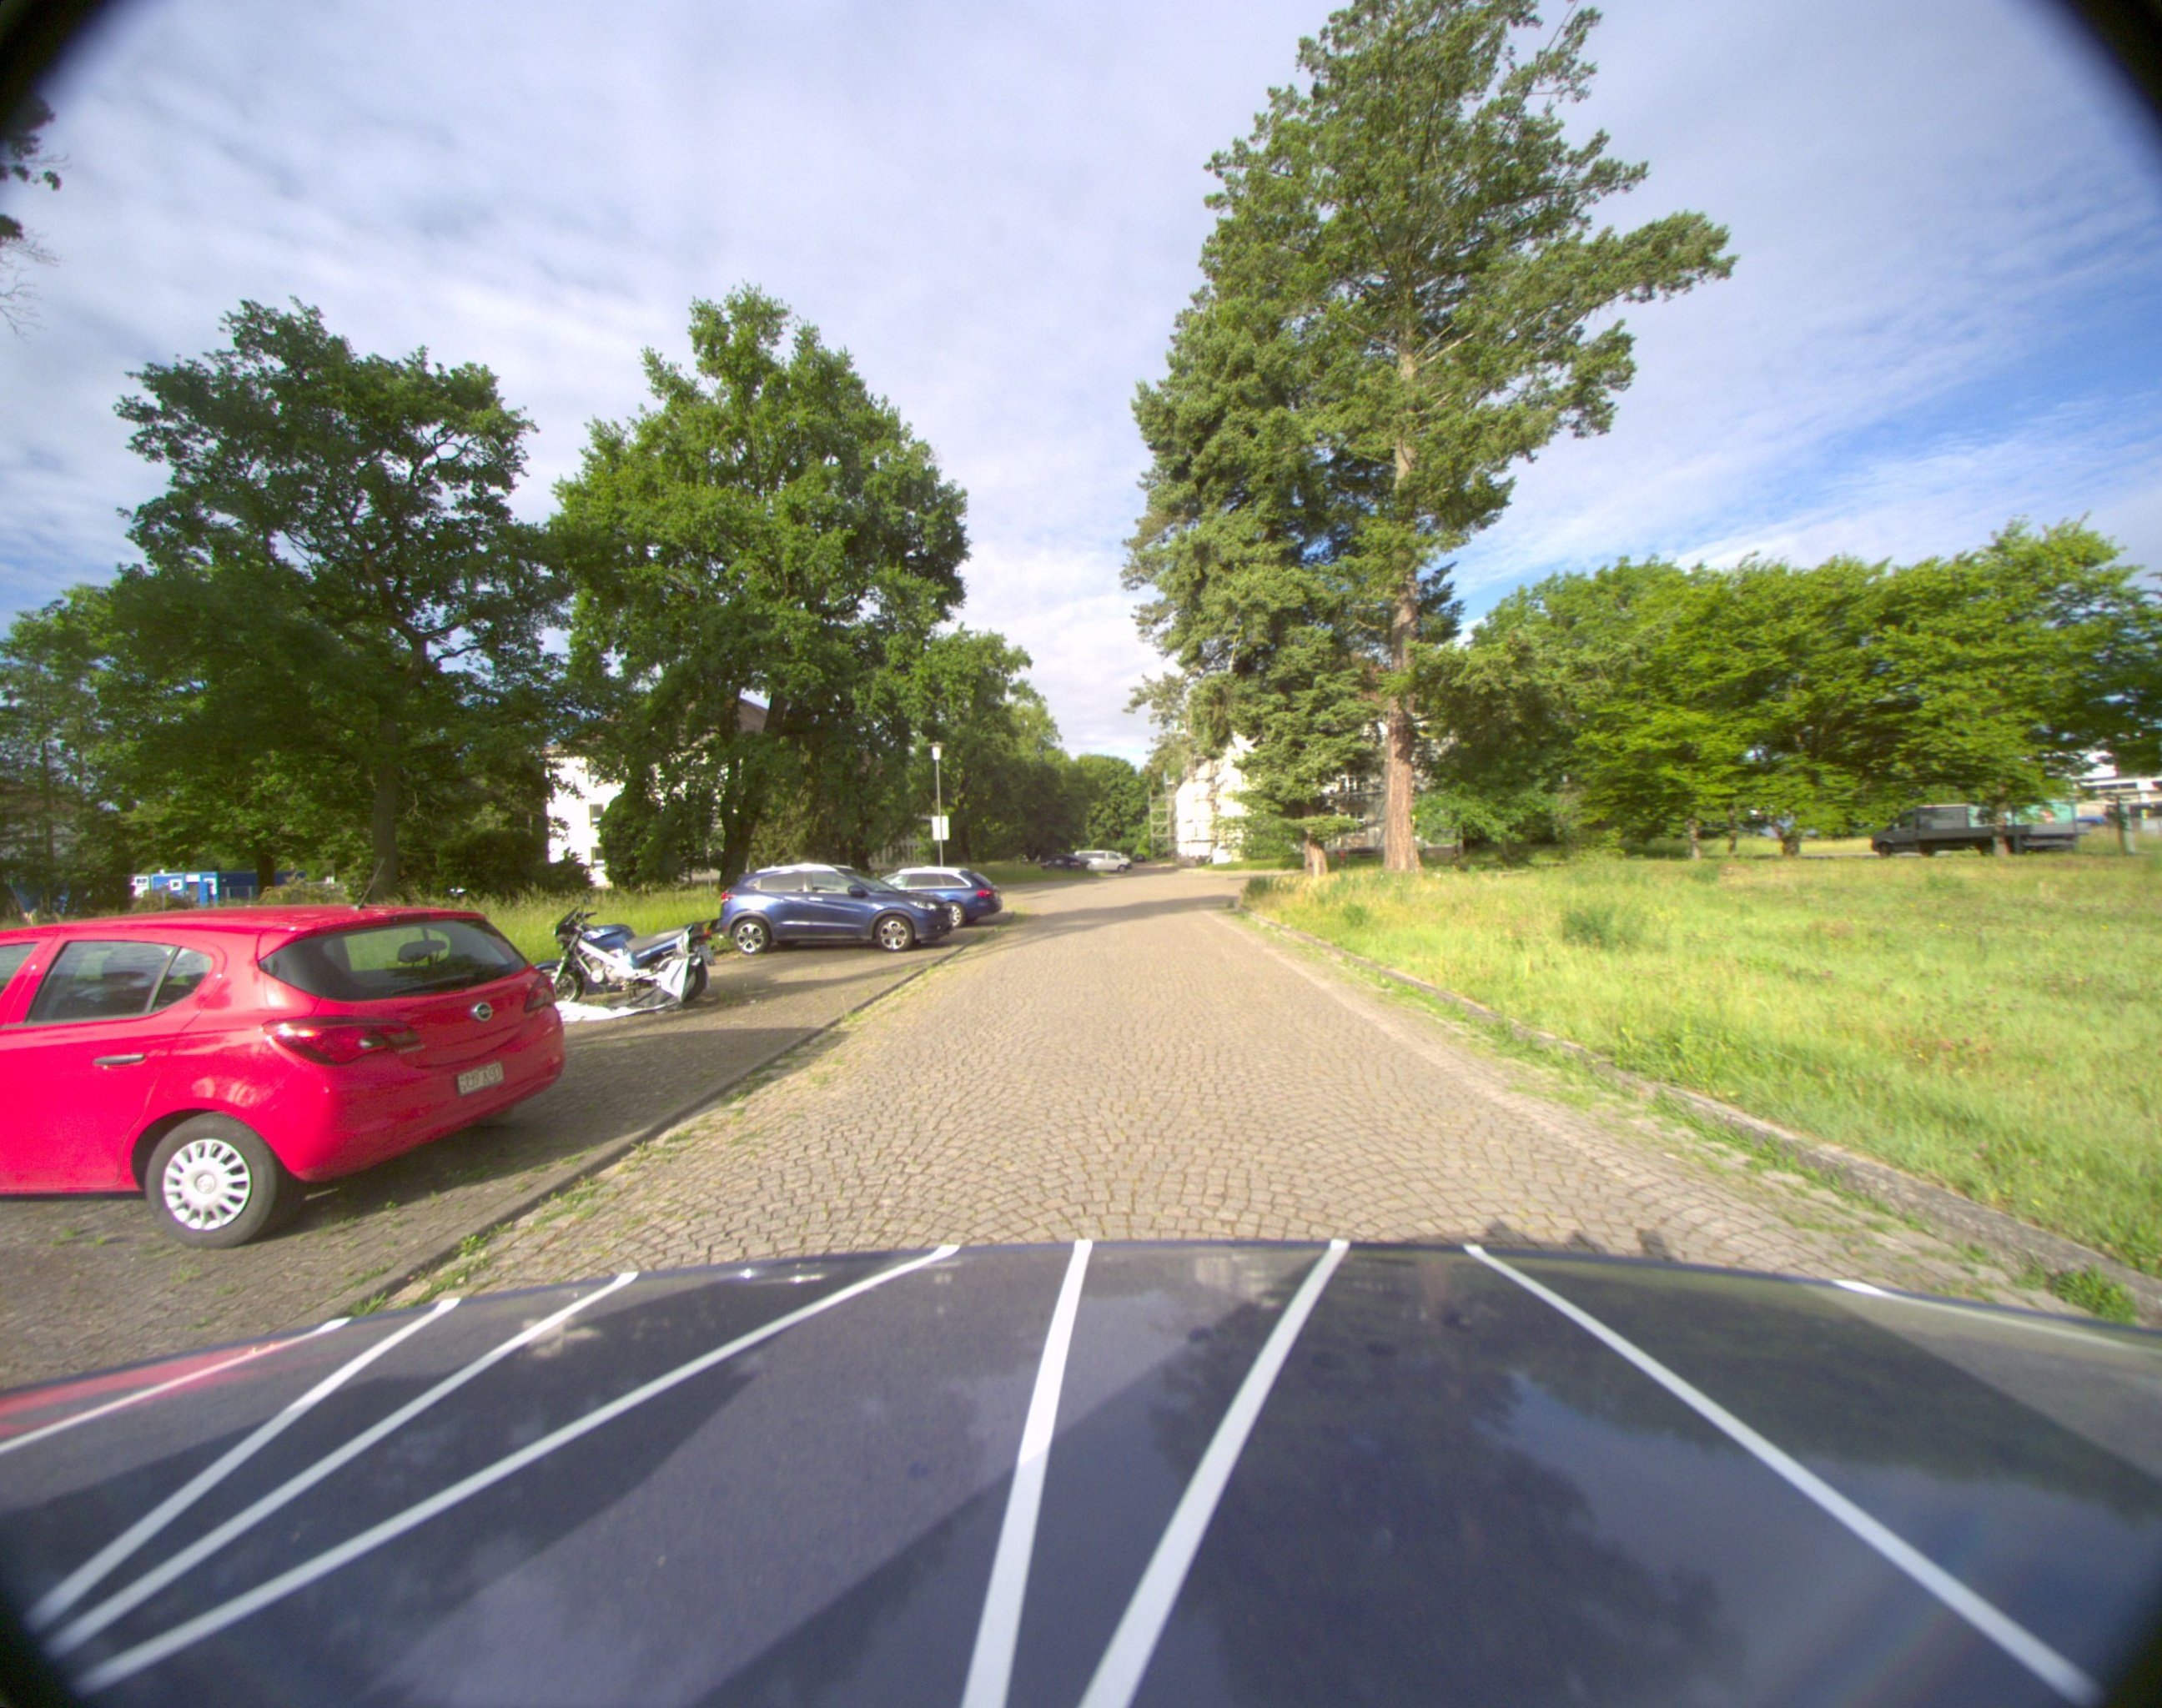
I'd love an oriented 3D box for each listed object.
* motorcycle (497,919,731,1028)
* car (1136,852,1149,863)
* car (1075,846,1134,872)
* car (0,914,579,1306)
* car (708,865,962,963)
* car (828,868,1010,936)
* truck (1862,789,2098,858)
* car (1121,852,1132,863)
[{"bbox_3d":[-5.253,1.337,8.606,2.306,1.107,0.607,-1,1,4],"label":"motorcycle"},{"bbox_3d":[10.769,0.533,133.717,1.998,1.762,4.109,-3,1,3],"label":"car"},{"bbox_3d":[2.093,0.477,67.717,5.077,2.029,2.000,-3,0,2],"label":"car"},{"bbox_3d":[-5.190,1.176,4.043,3.886,1.464,1.687,-1,1,2],"label":"car"},{"bbox_3d":[-4.490,1.084,14.308,4.135,1.560,1.746,-2,1,2],"label":"car"},{"bbox_3d":[-3.965,1.171,18.989,4.034,1.442,1.783,-2,1,5],"label":"car"},{"bbox_3d":[38.606,-1.189,33.098,2.417,2.572,6.961,-3,0,5],"label":"truck"},{"bbox_3d":[8.034,0.604,133.624,1.874,1.888,4.000,-3,1,3],"label":"car"}]
